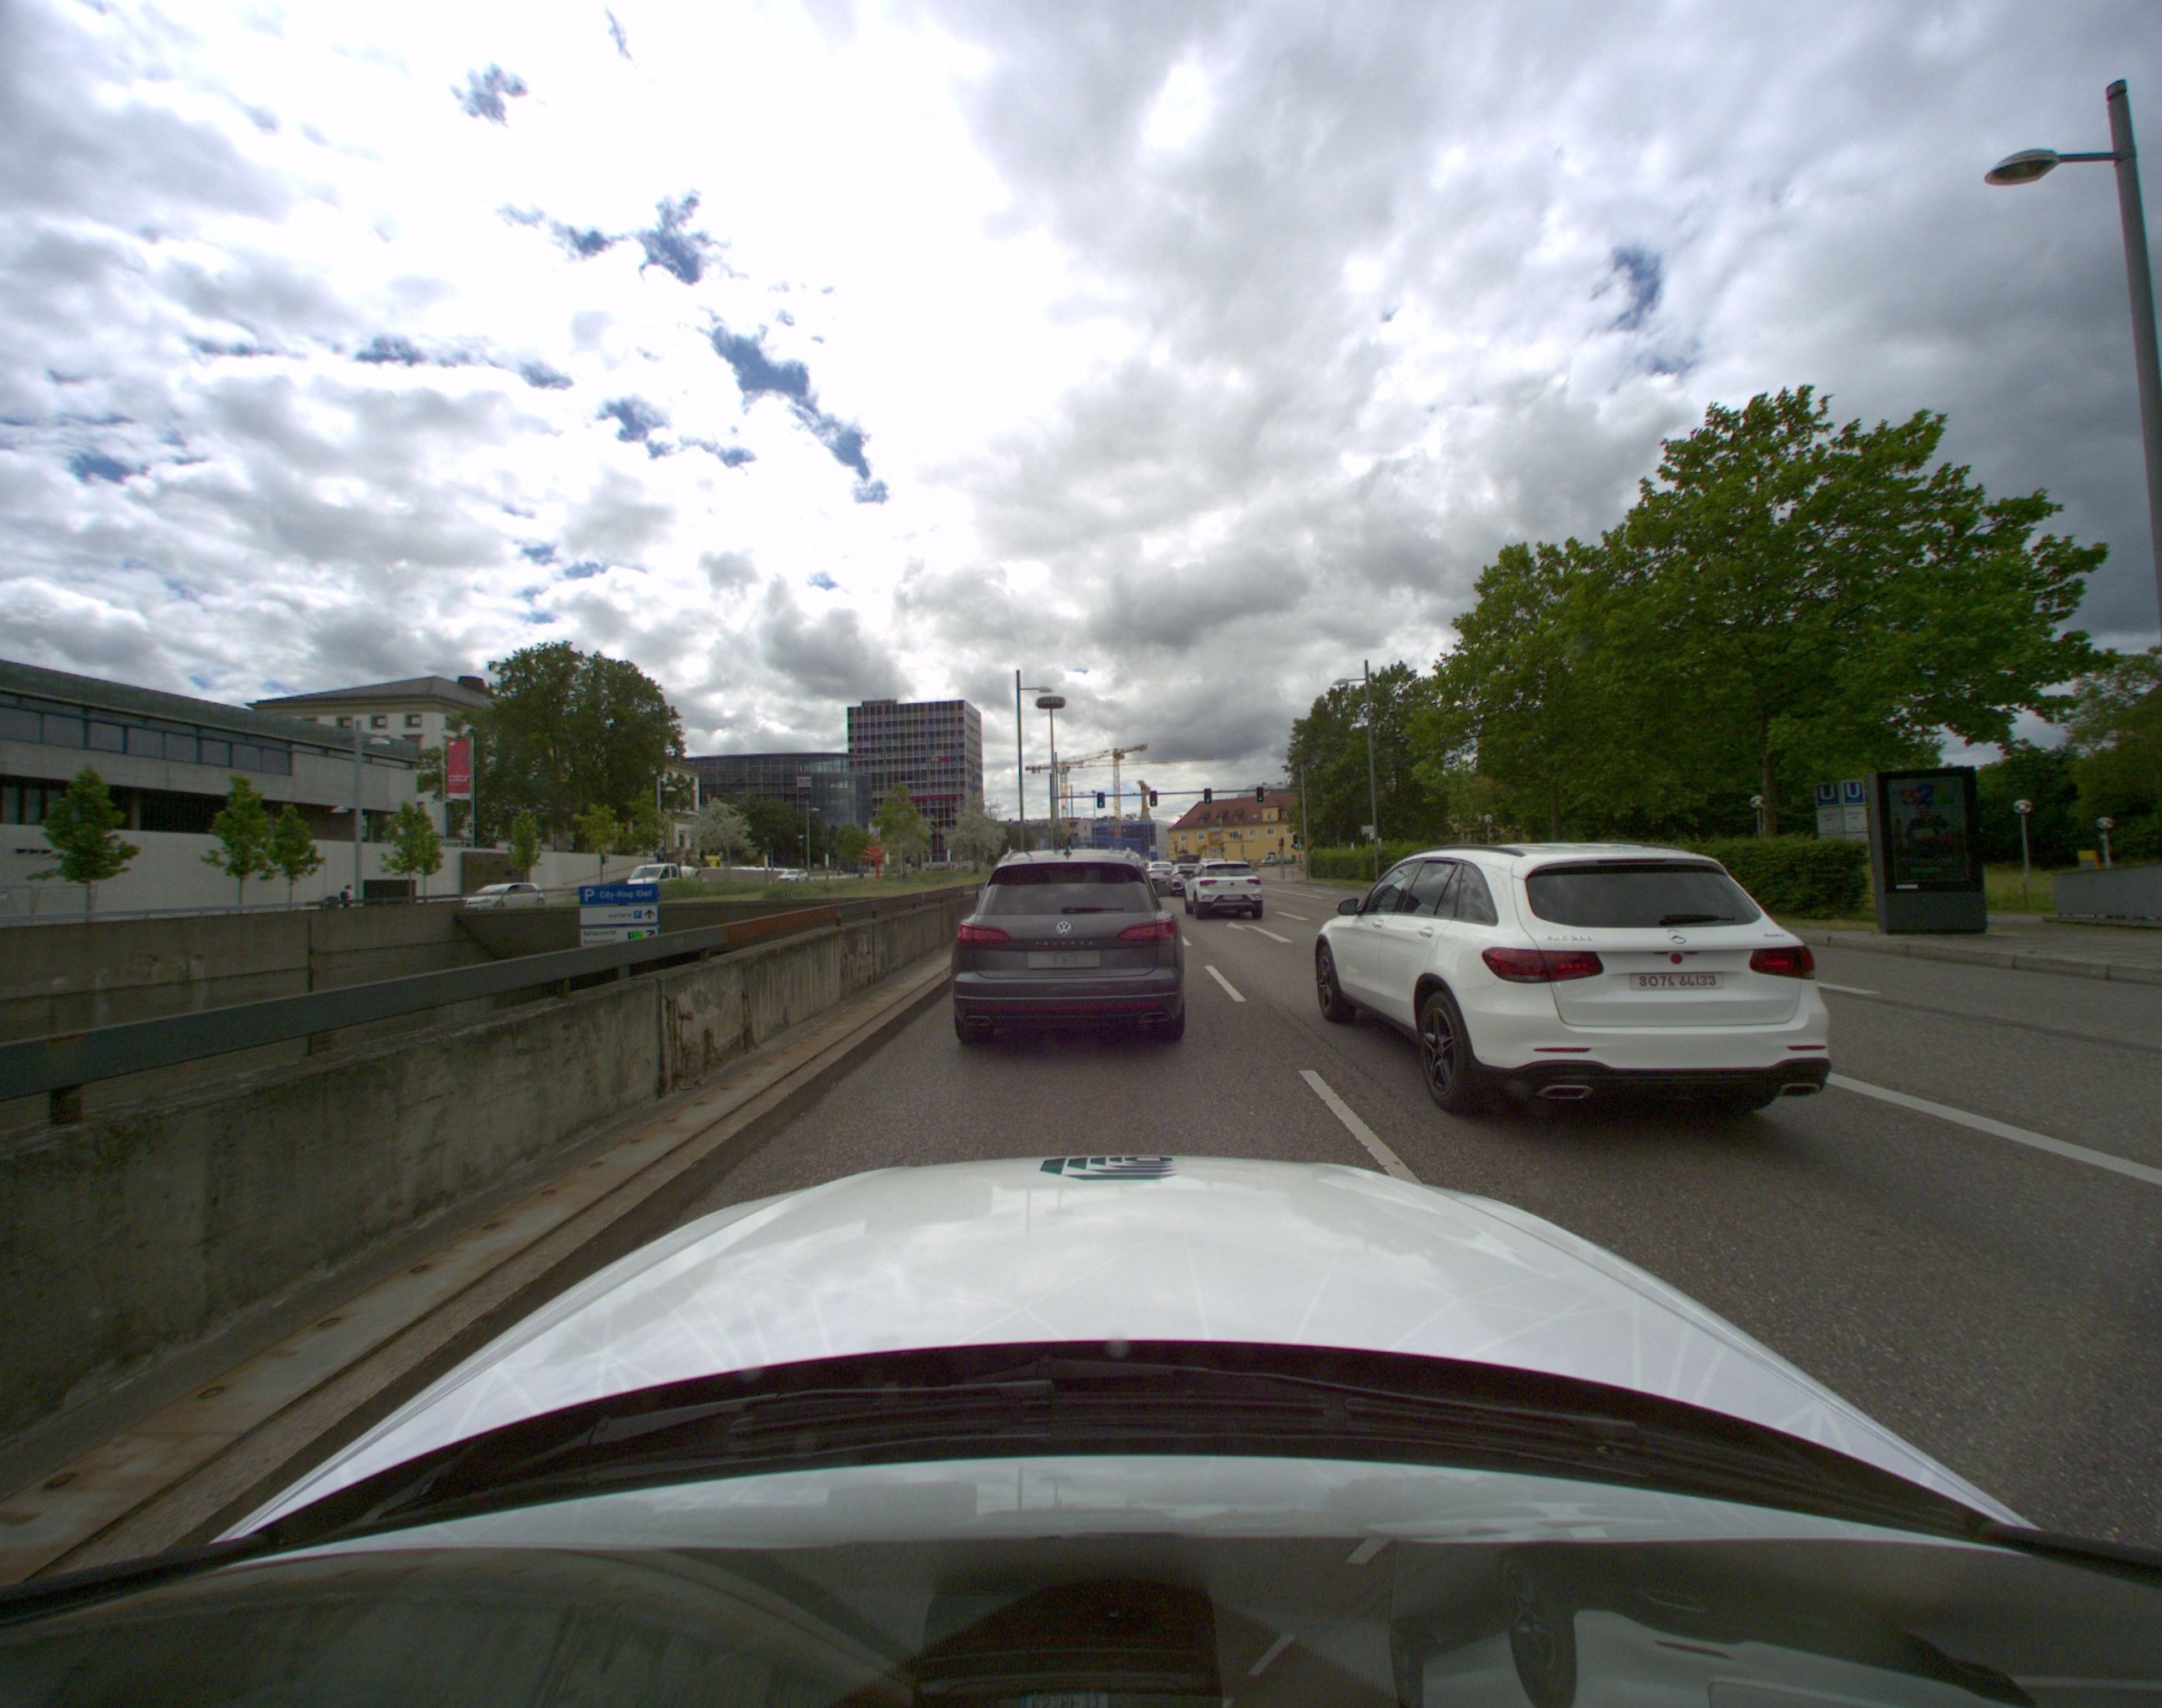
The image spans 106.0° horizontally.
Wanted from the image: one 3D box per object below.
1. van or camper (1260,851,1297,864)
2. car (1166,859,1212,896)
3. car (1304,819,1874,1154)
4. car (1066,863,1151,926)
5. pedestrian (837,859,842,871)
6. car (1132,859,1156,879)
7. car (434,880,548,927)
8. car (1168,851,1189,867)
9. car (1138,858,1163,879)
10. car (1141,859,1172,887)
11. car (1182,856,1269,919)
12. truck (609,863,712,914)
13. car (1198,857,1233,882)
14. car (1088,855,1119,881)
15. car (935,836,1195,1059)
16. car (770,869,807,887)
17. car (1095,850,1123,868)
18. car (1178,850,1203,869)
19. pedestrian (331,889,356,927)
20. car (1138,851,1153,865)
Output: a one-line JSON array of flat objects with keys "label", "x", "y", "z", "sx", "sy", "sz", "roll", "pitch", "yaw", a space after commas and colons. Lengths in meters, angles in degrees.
[{"label": "van or camper", "x": 34.332, "y": 0.612, "z": 141.615, "sx": 5.947, "sy": 2.014, "sz": 2.032, "roll": -2, "pitch": -1, "yaw": 37}, {"label": "car", "x": 4.770, "y": 1.016, "z": 36.563, "sx": 1.712, "sy": 1.502, "sz": 4.147, "roll": -1, "pitch": 0, "yaw": 3}, {"label": "car", "x": 3.118, "y": 0.663, "z": 6.248, "sx": 1.811, "sy": 1.647, "sz": 4.382, "roll": -1, "pitch": 0, "yaw": 3}, {"label": "car", "x": 0.720, "y": 0.986, "z": 21.314, "sx": 1.986, "sy": 1.387, "sz": 4.002, "roll": -1, "pitch": 0, "yaw": 2}, {"label": "pedestrian", "x": -34.206, "y": 1.545, "z": 115.237, "sx": 0.522, "sy": 1.649, "sz": 0.650, "roll": 0, "pitch": -1, "yaw": 0}, {"label": "car", "x": 5.887, "y": 1.401, "z": 76.531, "sx": 2.129, "sy": 1.728, "sz": 4.075, "roll": -1, "pitch": -1, "yaw": 4}, {"label": "car", "x": -26.800, "y": 2.208, "z": 37.193, "sx": 1.986, "sy": 1.816, "sz": 4.260, "roll": -1, "pitch": 0, "yaw": 2}, {"label": "car", "x": 9.512, "y": 0.442, "z": 79.807, "sx": 1.712, "sy": 1.502, "sz": 3.984, "roll": -1, "pitch": 0, "yaw": 3}, {"label": "car", "x": 5.278, "y": 1.106, "z": 61.910, "sx": 1.712, "sy": 1.502, "sz": 3.984, "roll": -1, "pitch": 0, "yaw": 3}, {"label": "car", "x": 4.436, "y": 1.090, "z": 48.082, "sx": 1.711, "sy": 1.502, "sz": 3.987, "roll": -1, "pitch": 0, "yaw": 5}, {"label": "car", "x": 3.959, "y": 0.864, "z": 22.868, "sx": 1.886, "sy": 1.585, "sz": 3.802, "roll": -1, "pitch": 0, "yaw": 2}, {"label": "truck", "x": -26.297, "y": 2.053, "z": 51.327, "sx": 2.453, "sy": 2.816, "sz": 7.084, "roll": -1, "pitch": 0, "yaw": 3}, {"label": "car", "x": 8.650, "y": 0.951, "z": 52.774, "sx": 1.795, "sy": 1.502, "sz": 3.984, "roll": -1, "pitch": 0, "yaw": 3}, {"label": "car", "x": 1.414, "y": 0.851, "z": 50.782, "sx": 1.807, "sy": 1.496, "sz": 3.908, "roll": -1, "pitch": 0, "yaw": 2}, {"label": "car", "x": -0.057, "y": 0.702, "z": 8.110, "sx": 1.925, "sy": 1.647, "sz": 4.002, "roll": -1, "pitch": 0, "yaw": 2}, {"label": "car", "x": -28.588, "y": 2.302, "z": 79.689, "sx": 1.712, "sy": 1.574, "sz": 4.616, "roll": -1, "pitch": 0, "yaw": 3}, {"label": "car", "x": 2.414, "y": 0.419, "z": 69.679, "sx": 2.235, "sy": 1.502, "sz": 4.615, "roll": -1, "pitch": 0, "yaw": 3}, {"label": "car", "x": 9.072, "y": 0.463, "z": 67.604, "sx": 1.712, "sy": 1.502, "sz": 3.984, "roll": -1, "pitch": 0, "yaw": 3}, {"label": "pedestrian", "x": -34.596, "y": 2.533, "z": 38.219, "sx": 0.538, "sy": 1.733, "sz": 0.664, "roll": -1, "pitch": 0, "yaw": 1}, {"label": "car", "x": 9.548, "y": 0.569, "z": 120.742, "sx": 1.986, "sy": 2.013, "sz": 4.002, "roll": -1, "pitch": 0, "yaw": 2}]
